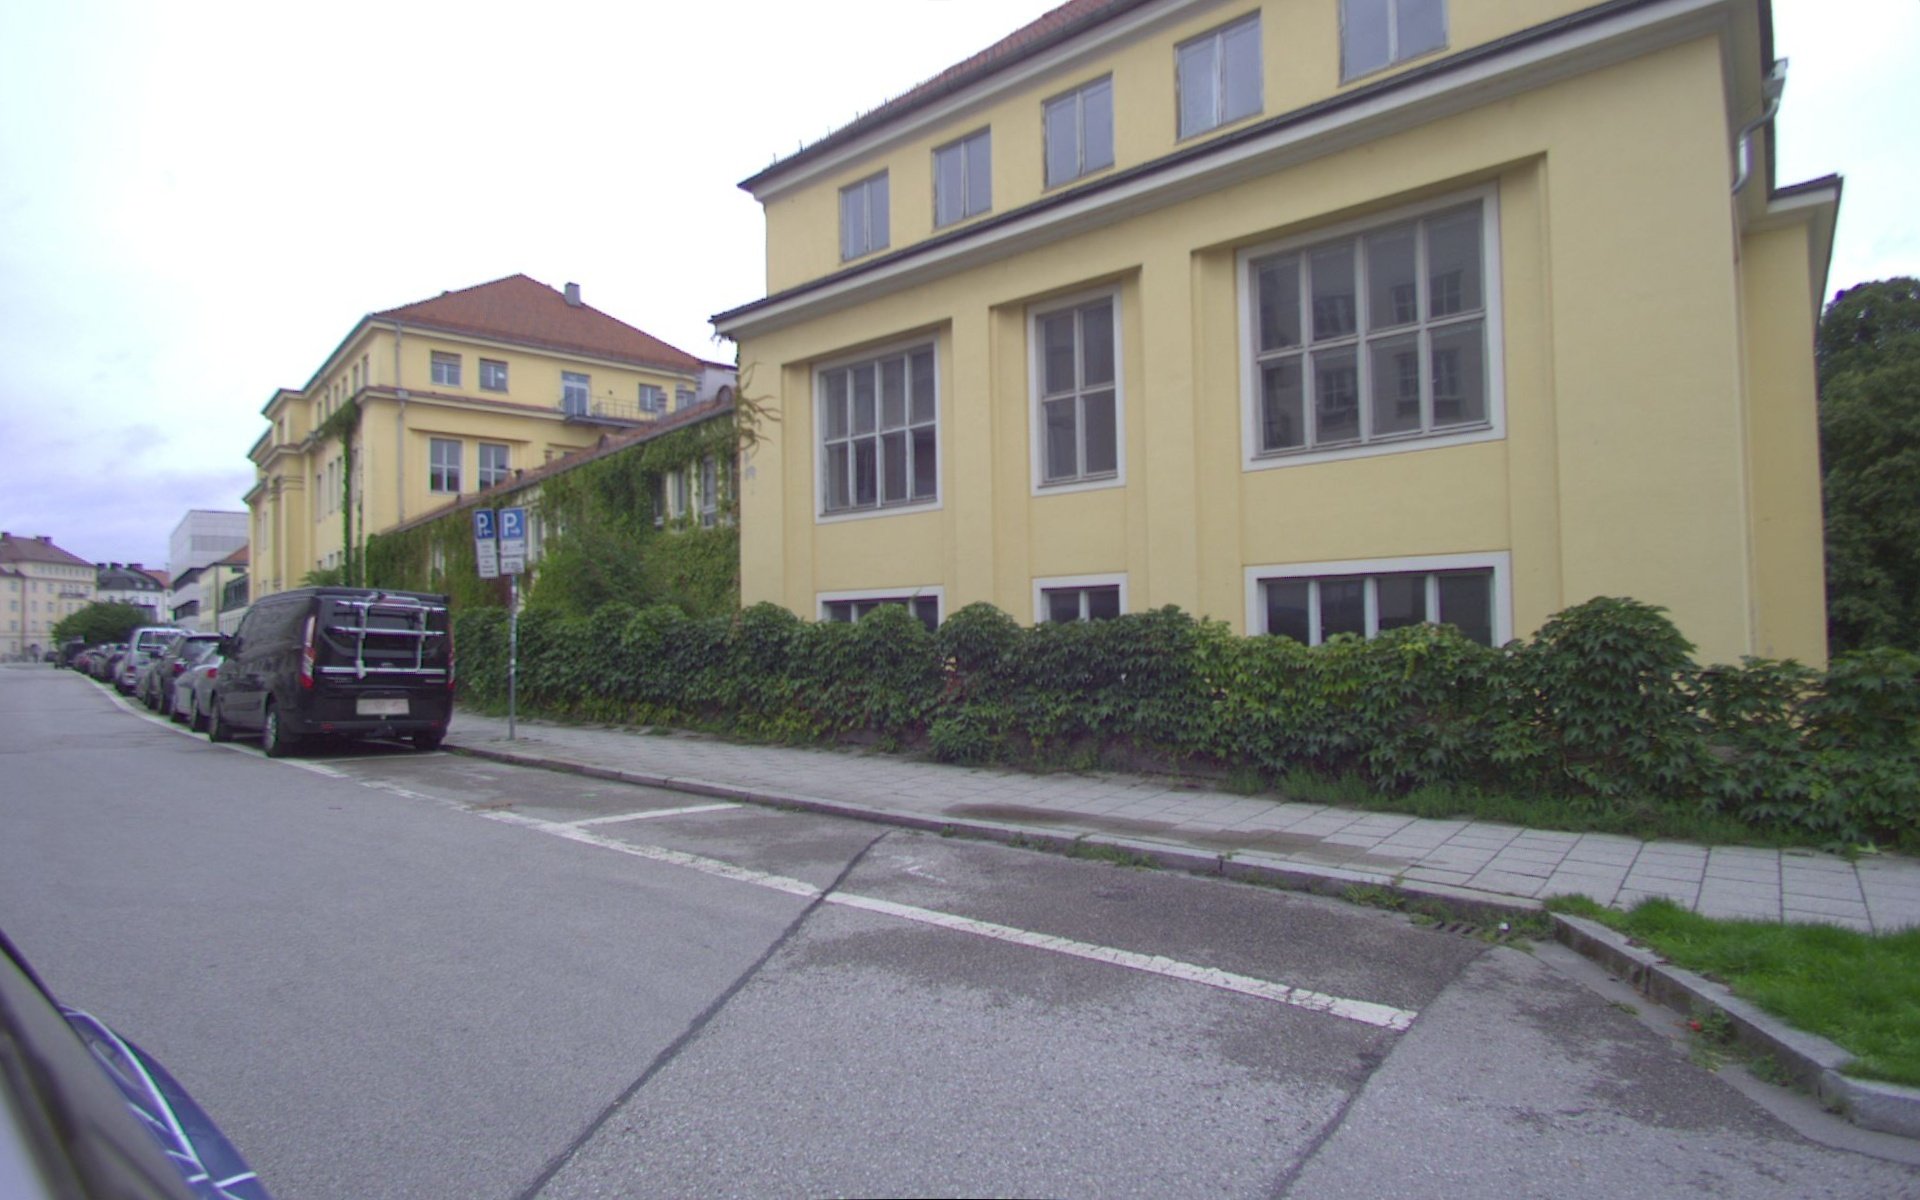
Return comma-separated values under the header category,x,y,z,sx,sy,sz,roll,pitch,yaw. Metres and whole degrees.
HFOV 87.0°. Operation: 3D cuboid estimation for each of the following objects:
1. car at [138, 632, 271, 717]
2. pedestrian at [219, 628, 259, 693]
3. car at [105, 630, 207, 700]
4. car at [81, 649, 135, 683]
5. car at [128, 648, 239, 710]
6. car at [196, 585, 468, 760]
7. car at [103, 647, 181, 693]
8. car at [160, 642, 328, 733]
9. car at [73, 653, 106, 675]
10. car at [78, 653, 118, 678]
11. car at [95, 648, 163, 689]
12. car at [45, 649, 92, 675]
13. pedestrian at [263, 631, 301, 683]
category,x,y,z,sx,sy,sz,roll,pitch,yaw
car,-16.004,1.562,21.347,1.682,1.619,4.495,5,-6,-43
pedestrian,-20.339,1.694,28.555,0.832,1.768,0.873,1,-3,-41
car,-23.220,1.901,29.169,1.870,1.812,4.886,7,-7,-42
car,-44.922,3.482,53.310,1.761,1.653,4.302,6,-7,-44
car,-19.470,1.949,25.303,1.782,1.388,4.496,7,-7,-41
car,-8.667,0.984,13.797,4.622,1.994,1.904,-3,-6,43
car,-26.536,2.271,32.792,1.647,1.420,3.562,5,-6,-43
car,-12.383,1.492,17.408,1.687,1.376,4.004,7,-7,-44
car,-64.858,4.798,75.379,1.748,1.567,4.215,5,-6,-42
car,-52.774,4.028,61.922,1.713,1.450,3.784,5,-6,-42
car,-33.349,2.748,40.576,1.697,1.492,4.224,6,-7,-43
car,-90.345,6.303,102.529,6.891,2.571,2.809,-4,-4,42
pedestrian,-20.205,1.697,30.162,0.832,1.506,0.873,1,-3,-41
